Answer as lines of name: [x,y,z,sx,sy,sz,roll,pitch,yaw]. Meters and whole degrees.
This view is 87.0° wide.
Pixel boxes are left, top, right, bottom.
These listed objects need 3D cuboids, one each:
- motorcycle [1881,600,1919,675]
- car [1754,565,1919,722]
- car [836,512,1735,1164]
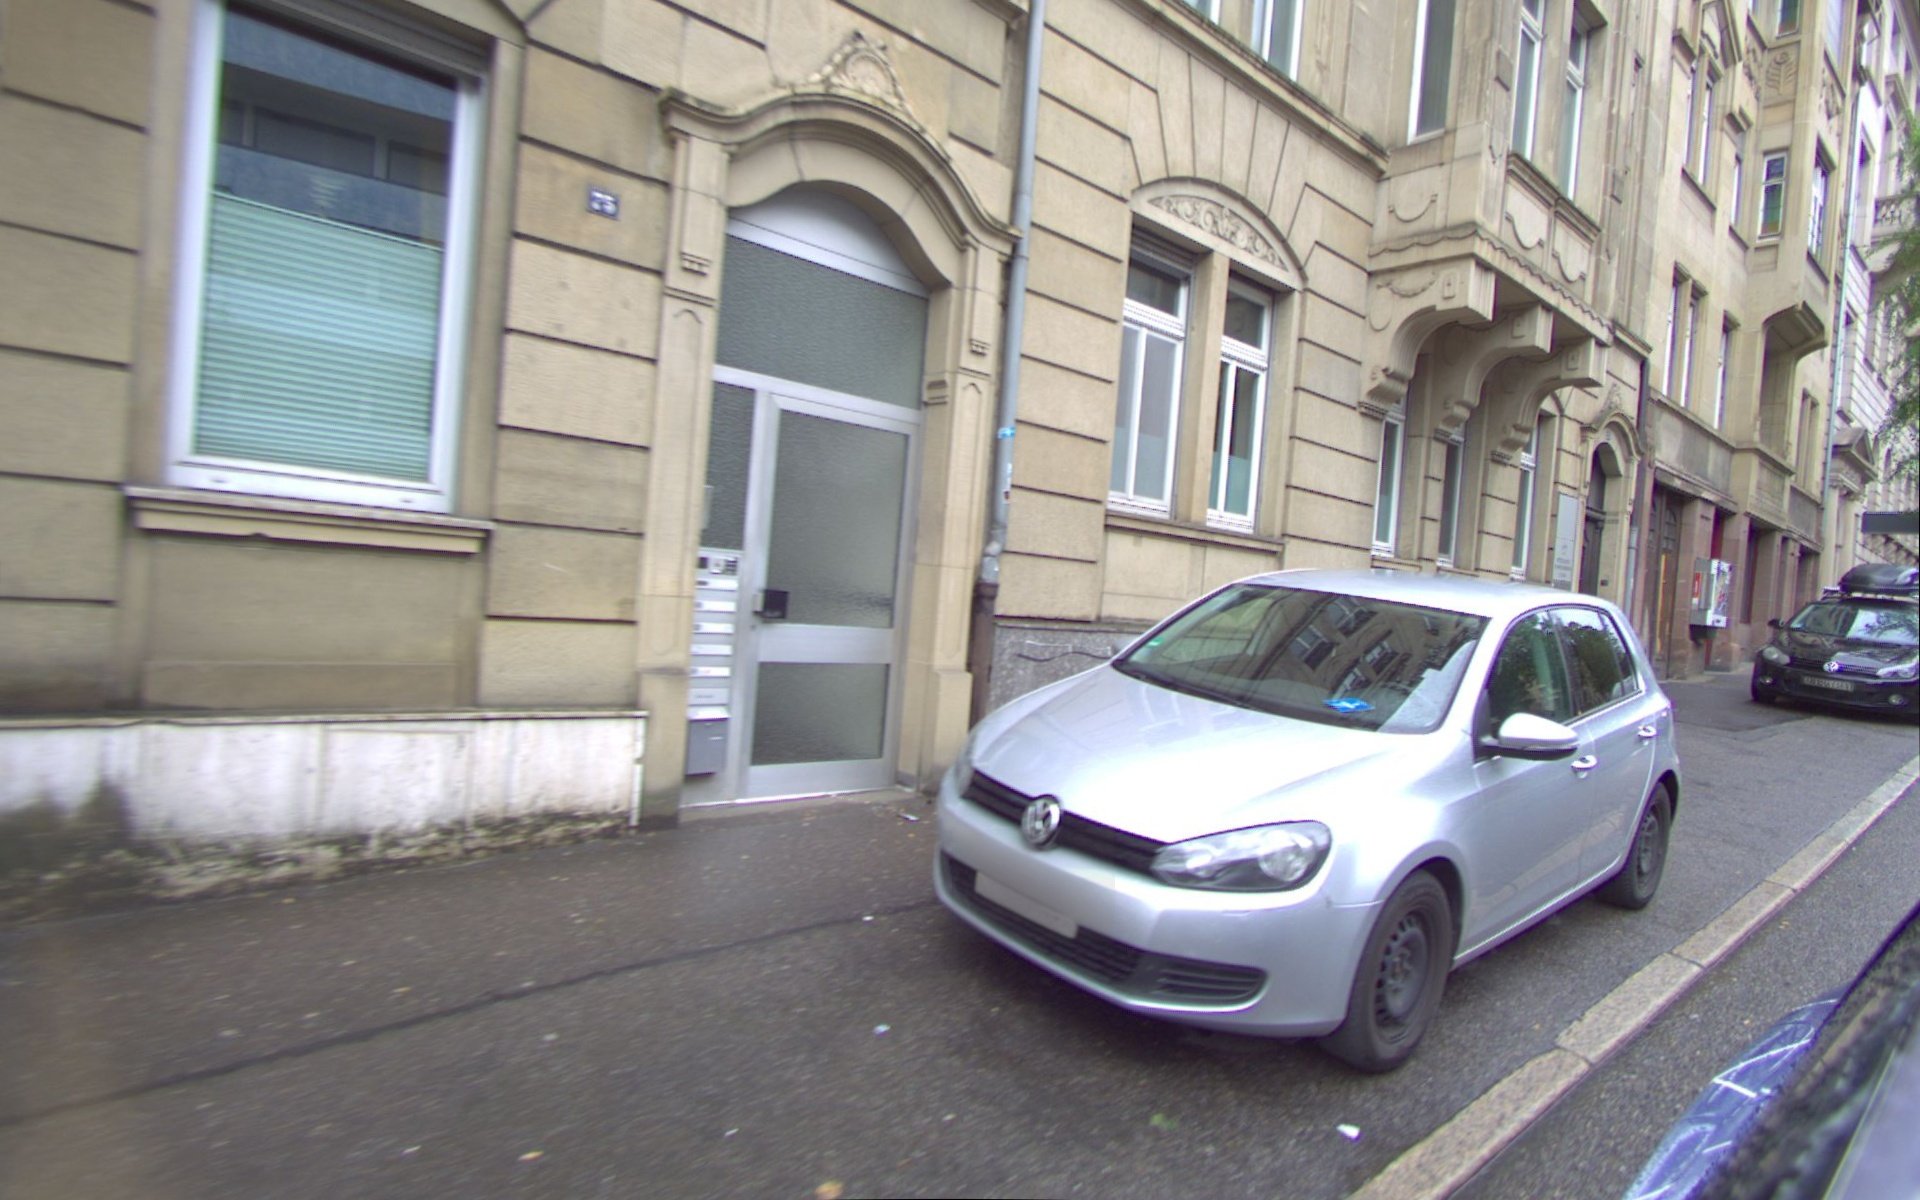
motorcycle: [17.667,0.732,17.850,2.233,1.258,0.525,5,3,0]
car: [12.209,0.499,13.350,4.025,1.670,1.765,0,6,-40]
car: [1.639,0.520,4.330,3.930,1.468,1.765,0,6,-41]
